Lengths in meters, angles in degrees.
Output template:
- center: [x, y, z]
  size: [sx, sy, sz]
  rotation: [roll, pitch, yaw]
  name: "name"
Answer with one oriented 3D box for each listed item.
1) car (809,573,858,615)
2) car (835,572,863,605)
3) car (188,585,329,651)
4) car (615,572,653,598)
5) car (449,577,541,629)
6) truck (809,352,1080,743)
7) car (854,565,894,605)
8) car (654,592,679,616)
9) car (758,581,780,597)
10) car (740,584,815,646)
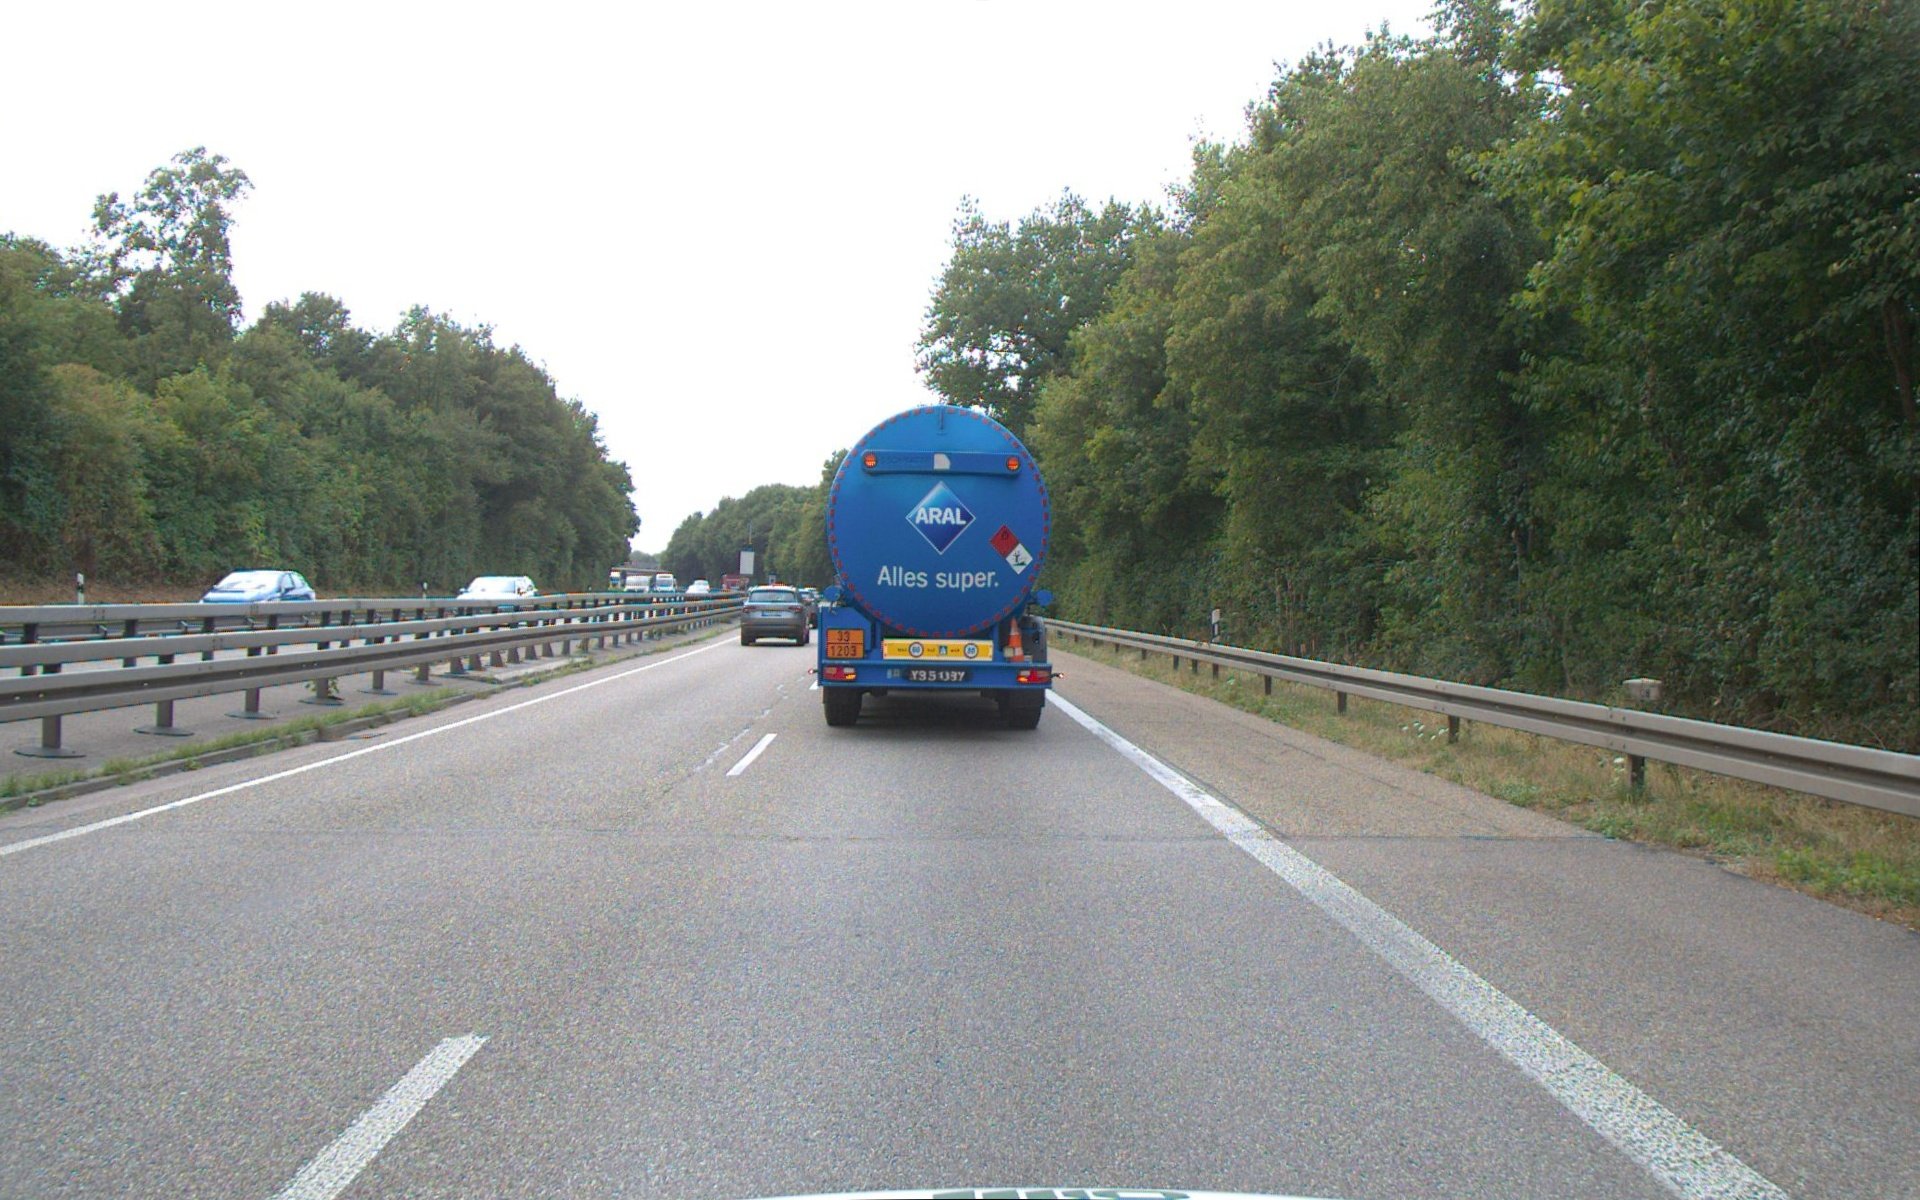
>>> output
- center: [-5.098, -0.244, 67.043]
  size: [1.789, 1.637, 4.165]
  rotation: [0, 0, -2]
  name: "car"
- center: [-7.972, -0.820, 118.858]
  size: [1.954, 2.284, 3.997]
  rotation: [0, 0, -4]
  name: "car"
- center: [-16.684, 0.418, 39.528]
  size: [1.775, 1.475, 4.055]
  rotation: [0, 0, -2]
  name: "car"
- center: [-23.294, -1.060, 118.289]
  size: [1.994, 1.835, 5.119]
  rotation: [0, 0, -3]
  name: "car"
- center: [-13.471, 0.090, 48.095]
  size: [1.677, 1.452, 4.055]
  rotation: [0, 0, -2]
  name: "car"
- center: [-0.246, -0.537, 20.498]
  size: [2.699, 3.914, 7.686]
  rotation: [0, 0, -2]
  name: "truck"
- center: [-4.959, -0.850, 95.607]
  size: [1.952, 2.284, 4.001]
  rotation: [0, 0, 2]
  name: "car"
- center: [-32.153, 0.435, 181.409]
  size: [2.267, 2.656, 5.547]
  rotation: [0, 0, -5]
  name: "car"
- center: [-20.146, -1.160, 174.650]
  size: [1.958, 1.579, 3.988]
  rotation: [1, 0, -12]
  name: "car"
- center: [-5.021, 0.397, 46.042]
  size: [1.790, 1.637, 4.165]
  rotation: [0, 0, -3]
  name: "car"
